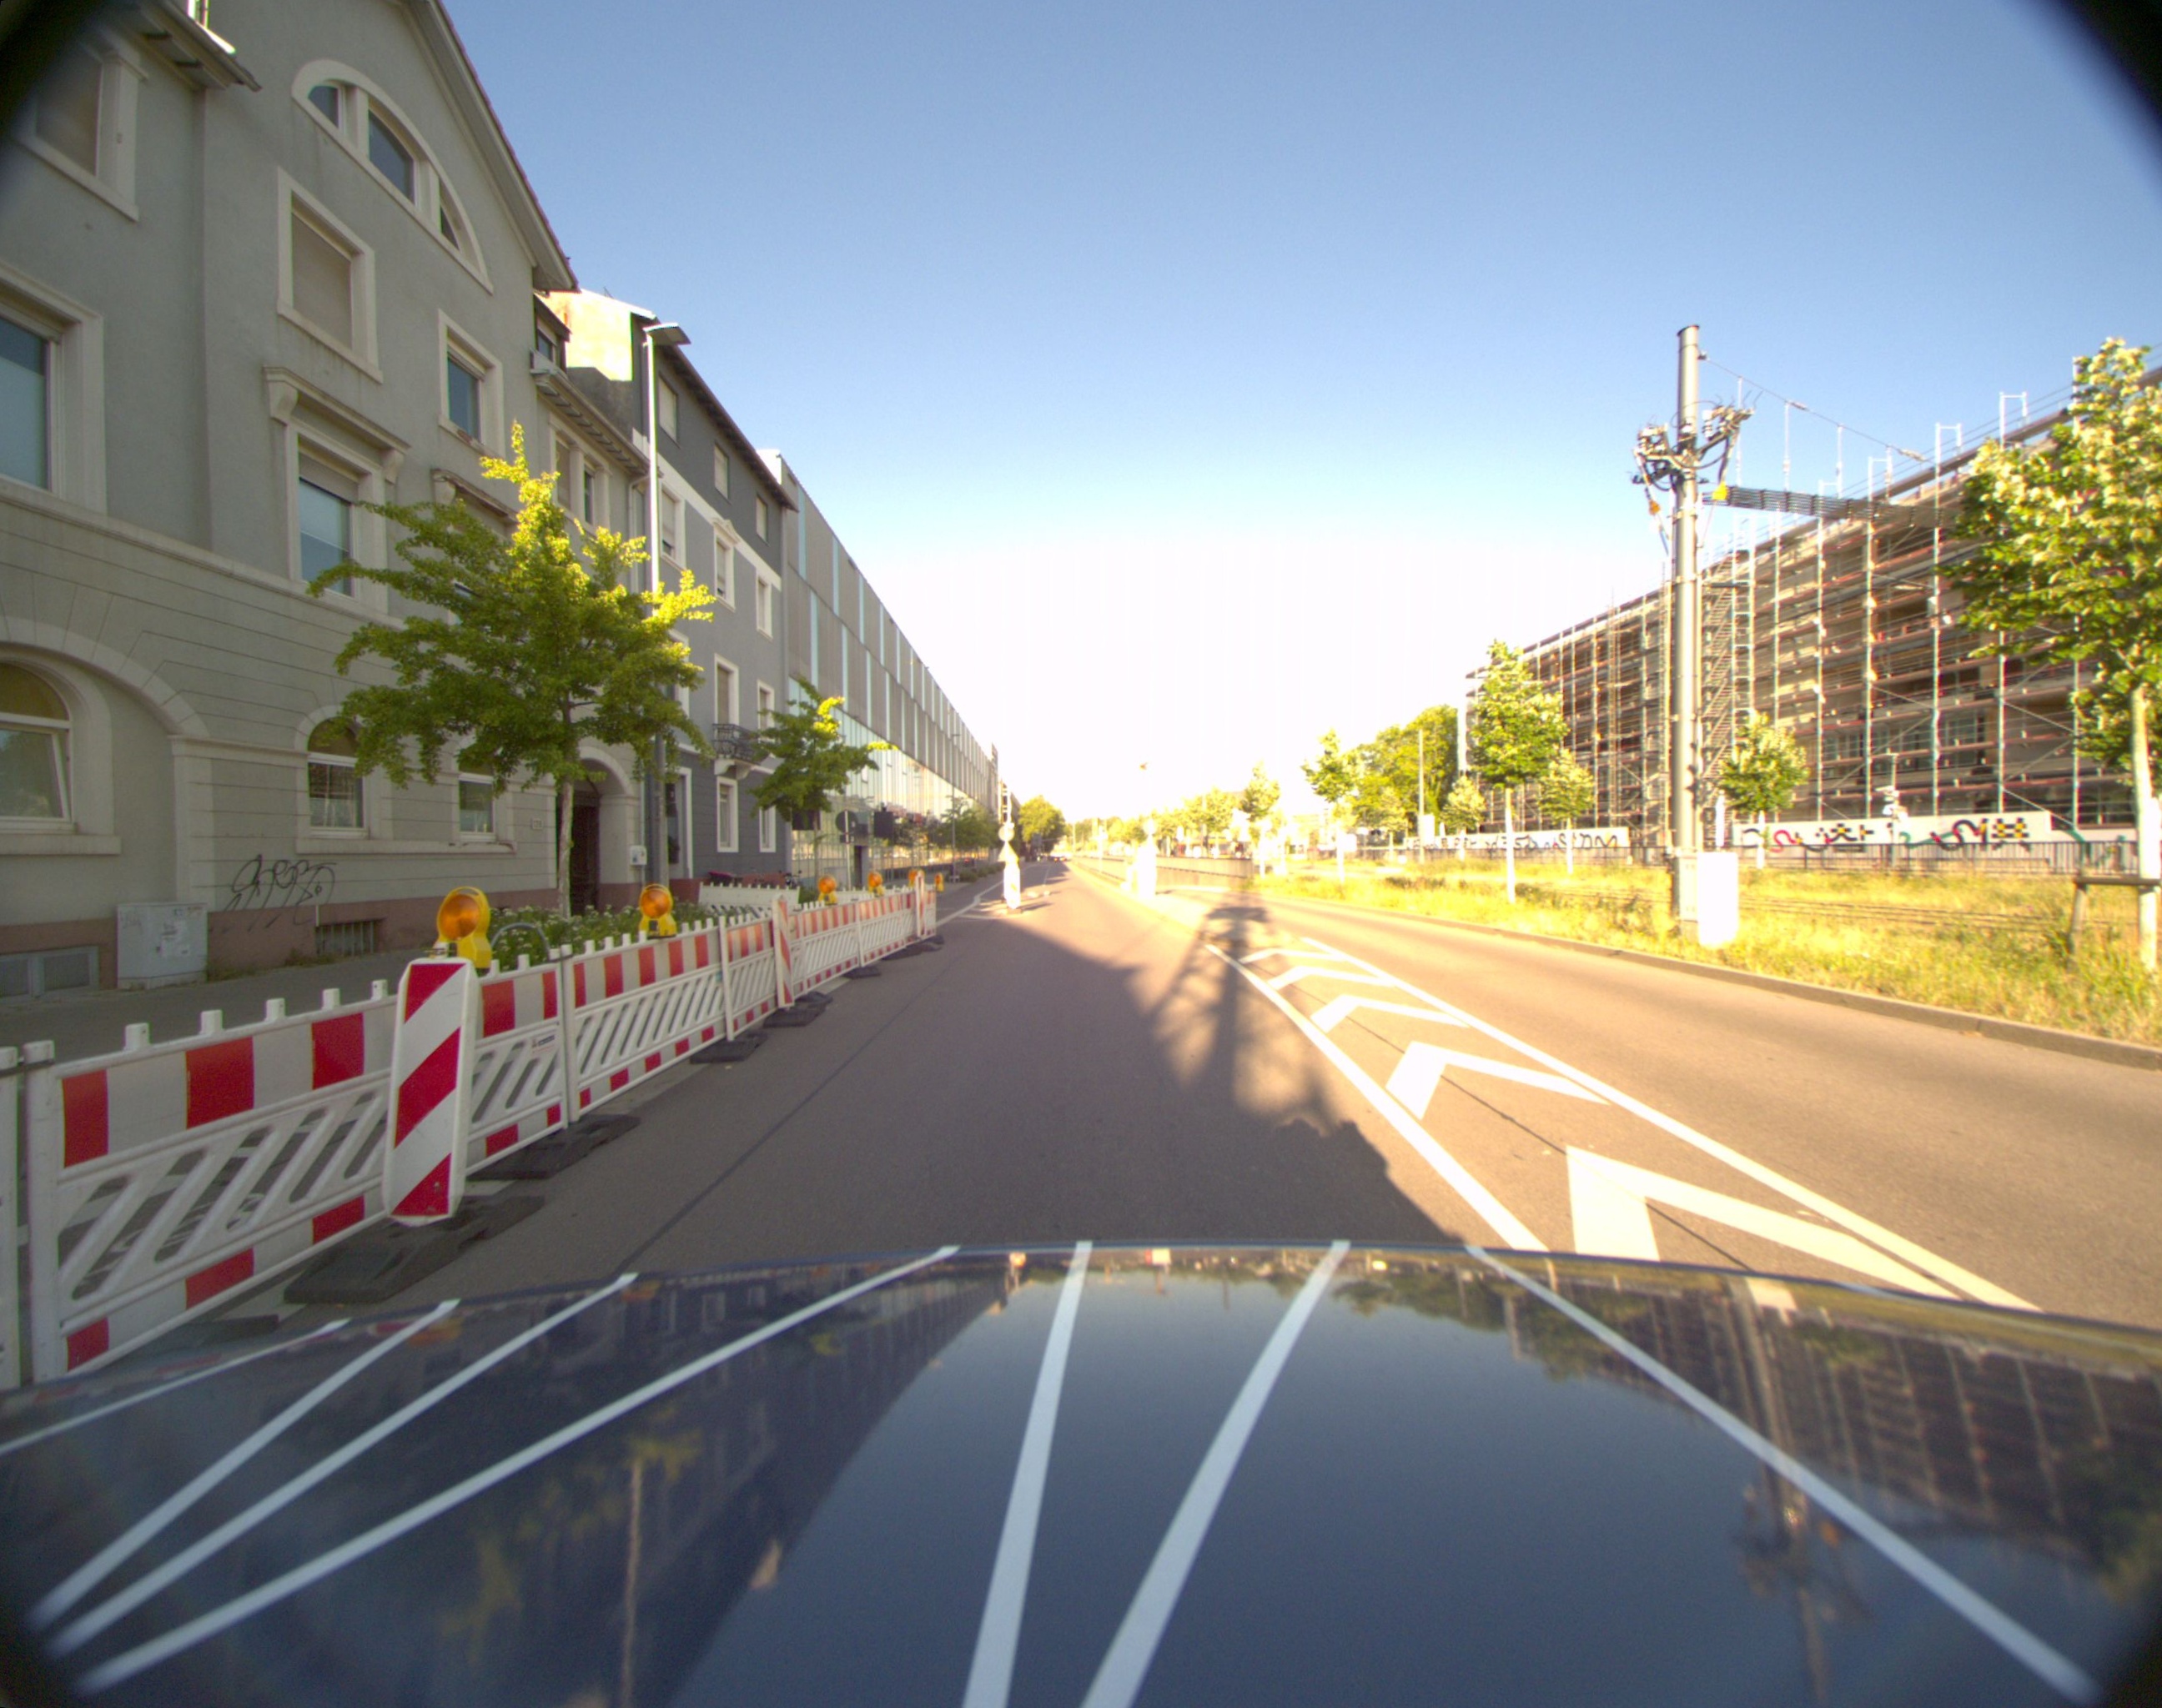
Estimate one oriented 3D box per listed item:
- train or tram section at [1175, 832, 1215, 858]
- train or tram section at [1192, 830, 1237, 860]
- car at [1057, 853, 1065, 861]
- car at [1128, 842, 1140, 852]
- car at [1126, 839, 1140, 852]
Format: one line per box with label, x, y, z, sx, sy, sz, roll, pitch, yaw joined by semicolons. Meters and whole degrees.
train or tram section;15.983;-1.225;107.960;2.954;3.378;14.761;-2;1;-2
train or tram section;16.366;-1.092;94.314;2.954;3.378;12.630;-2;1;-2
car;-4.994;0.790;187.127;1.941;2.002;3.825;-1;0;-3
car;10.052;-1.387;143.303;1.998;1.740;3.999;-2;1;1
car;8.599;-1.431;126.684;1.998;2.002;3.999;-2;1;1
